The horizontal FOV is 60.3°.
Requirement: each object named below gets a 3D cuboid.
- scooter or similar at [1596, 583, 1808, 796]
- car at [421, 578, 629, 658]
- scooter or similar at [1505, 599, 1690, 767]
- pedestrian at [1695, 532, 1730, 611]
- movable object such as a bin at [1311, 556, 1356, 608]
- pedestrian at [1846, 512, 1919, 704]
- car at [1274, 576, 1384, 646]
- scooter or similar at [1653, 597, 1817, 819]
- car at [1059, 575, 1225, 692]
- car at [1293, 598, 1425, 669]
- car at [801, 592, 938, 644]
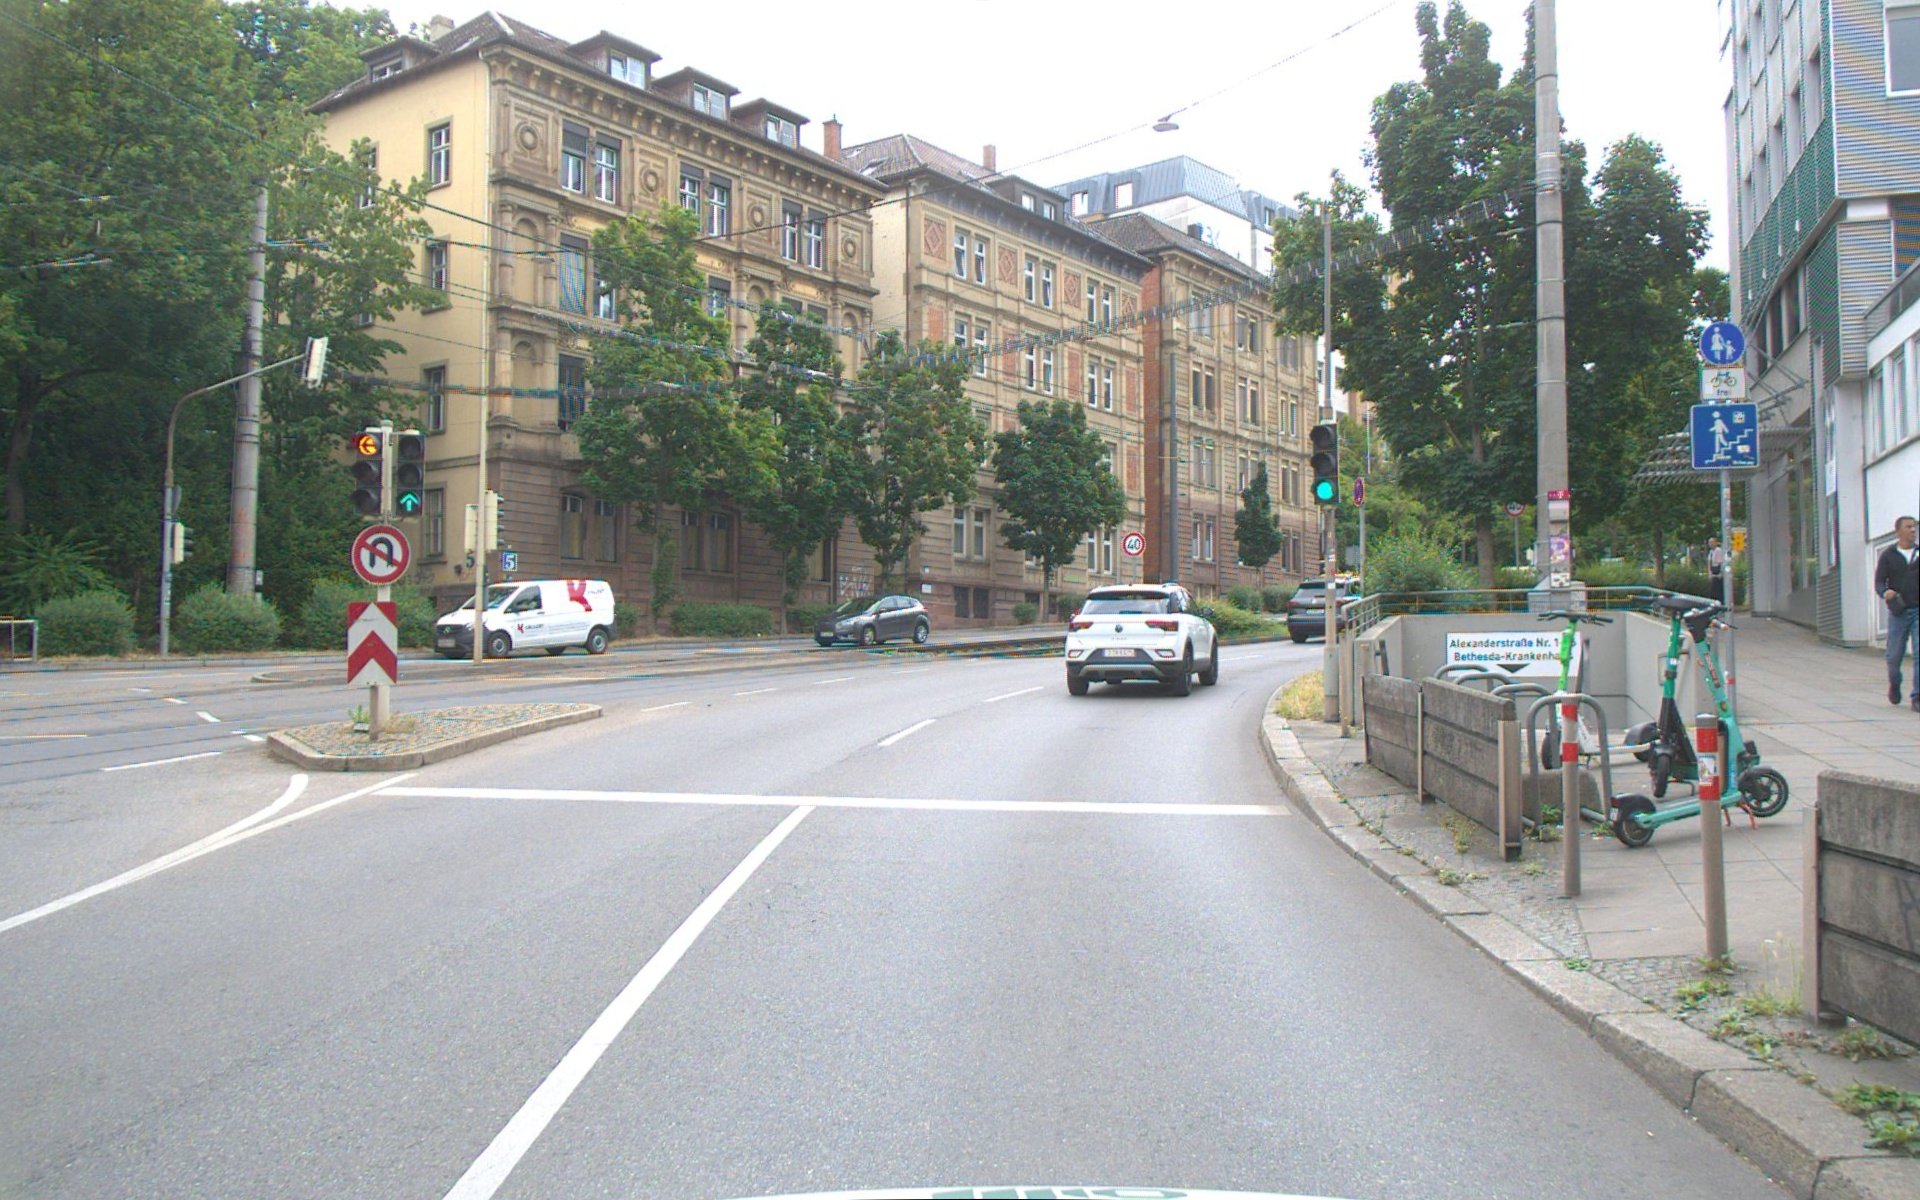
[{"bbox_3d":[4.857,0.545,10.805,1.427,1.276,0.551,-2,1,-32],"label":"scooter or similar"},{"bbox_3d":[-10.954,0.424,41.940,1.961,1.882,4.971,1,0,37],"label":"car"},{"bbox_3d":[4.844,0.596,12.548,1.427,1.203,0.576,0,0,-32],"label":"scooter or similar"},{"bbox_3d":[17.597,-0.668,38.698,0.659,1.826,0.609,0,0,16],"label":"pedestrian"},{"bbox_3d":[21.772,-1.037,96.435,1.957,2.888,2.025,-2,-1,31],"label":"movable object such as a bin"},{"bbox_3d":[9.356,0.073,16.469,0.816,1.842,1.151,0,0,22],"label":"pedestrian"},{"bbox_3d":[9.951,0.276,44.386,1.805,1.770,3.993,0,0,29],"label":"car"},{"bbox_3d":[4.417,0.587,9.417,0.998,1.203,0.372,0,0,-32],"label":"scooter or similar"},{"bbox_3d":[2.808,0.487,24.748,1.897,1.594,4.049,-1,-1,14],"label":"car"},{"bbox_3d":[9.797,0.826,40.397,1.870,1.601,3.821,1,-1,35],"label":"car"},{"bbox_3d":[-2.633,0.514,49.253,1.713,1.452,4.389,-1,0,36],"label":"car"}]
